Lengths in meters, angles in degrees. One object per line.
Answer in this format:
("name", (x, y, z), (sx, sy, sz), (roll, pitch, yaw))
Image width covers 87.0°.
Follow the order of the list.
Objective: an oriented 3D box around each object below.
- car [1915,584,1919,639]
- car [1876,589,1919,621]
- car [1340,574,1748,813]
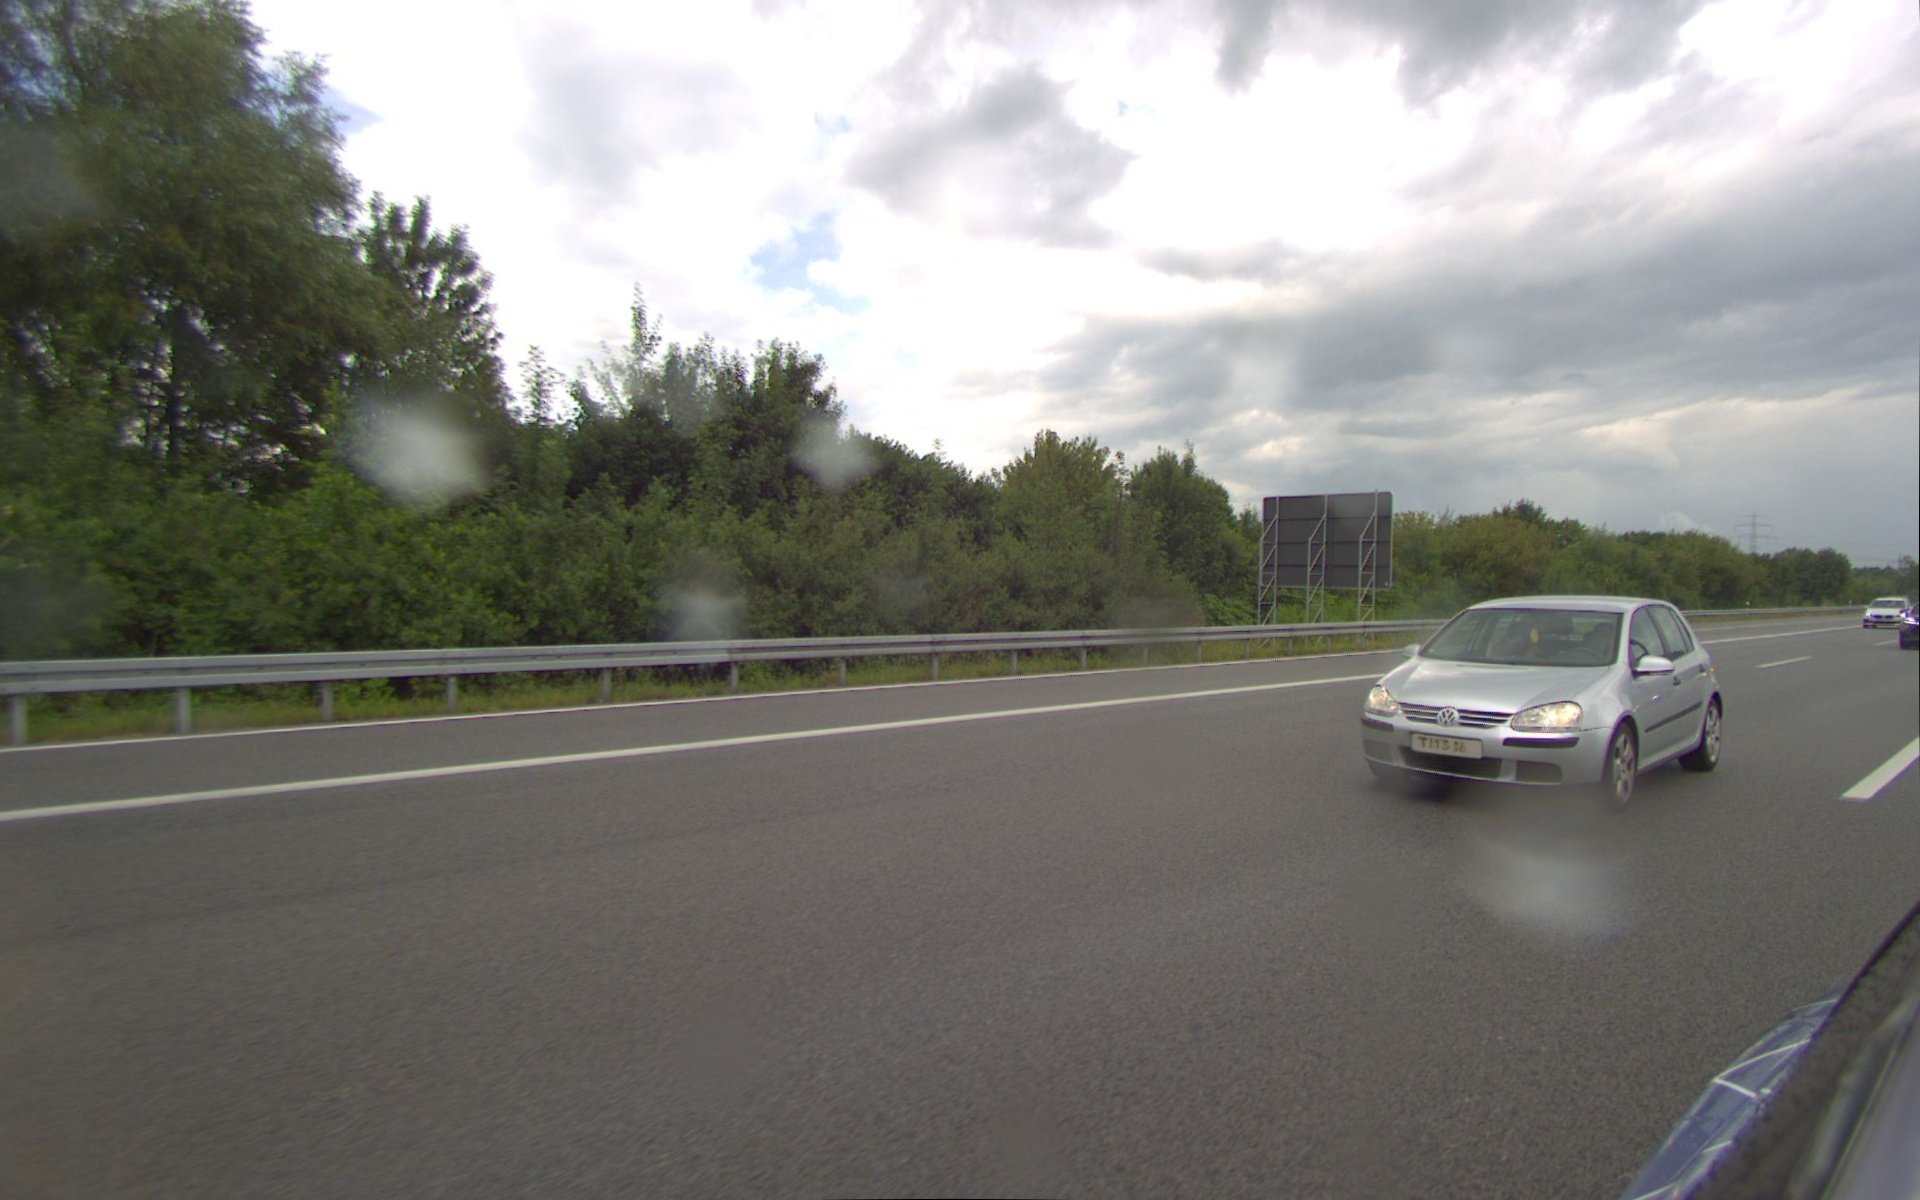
("car", (30.719, 0.362, 31.085), (4.520, 1.633, 1.783), (0, 0, -43))
("car", (49.835, 0.243, 53.474), (4.617, 1.619, 1.812), (0, 0, -43))
("car", (4.939, 0.572, 8.326), (3.968, 1.495, 1.798), (0, 0, -42))
